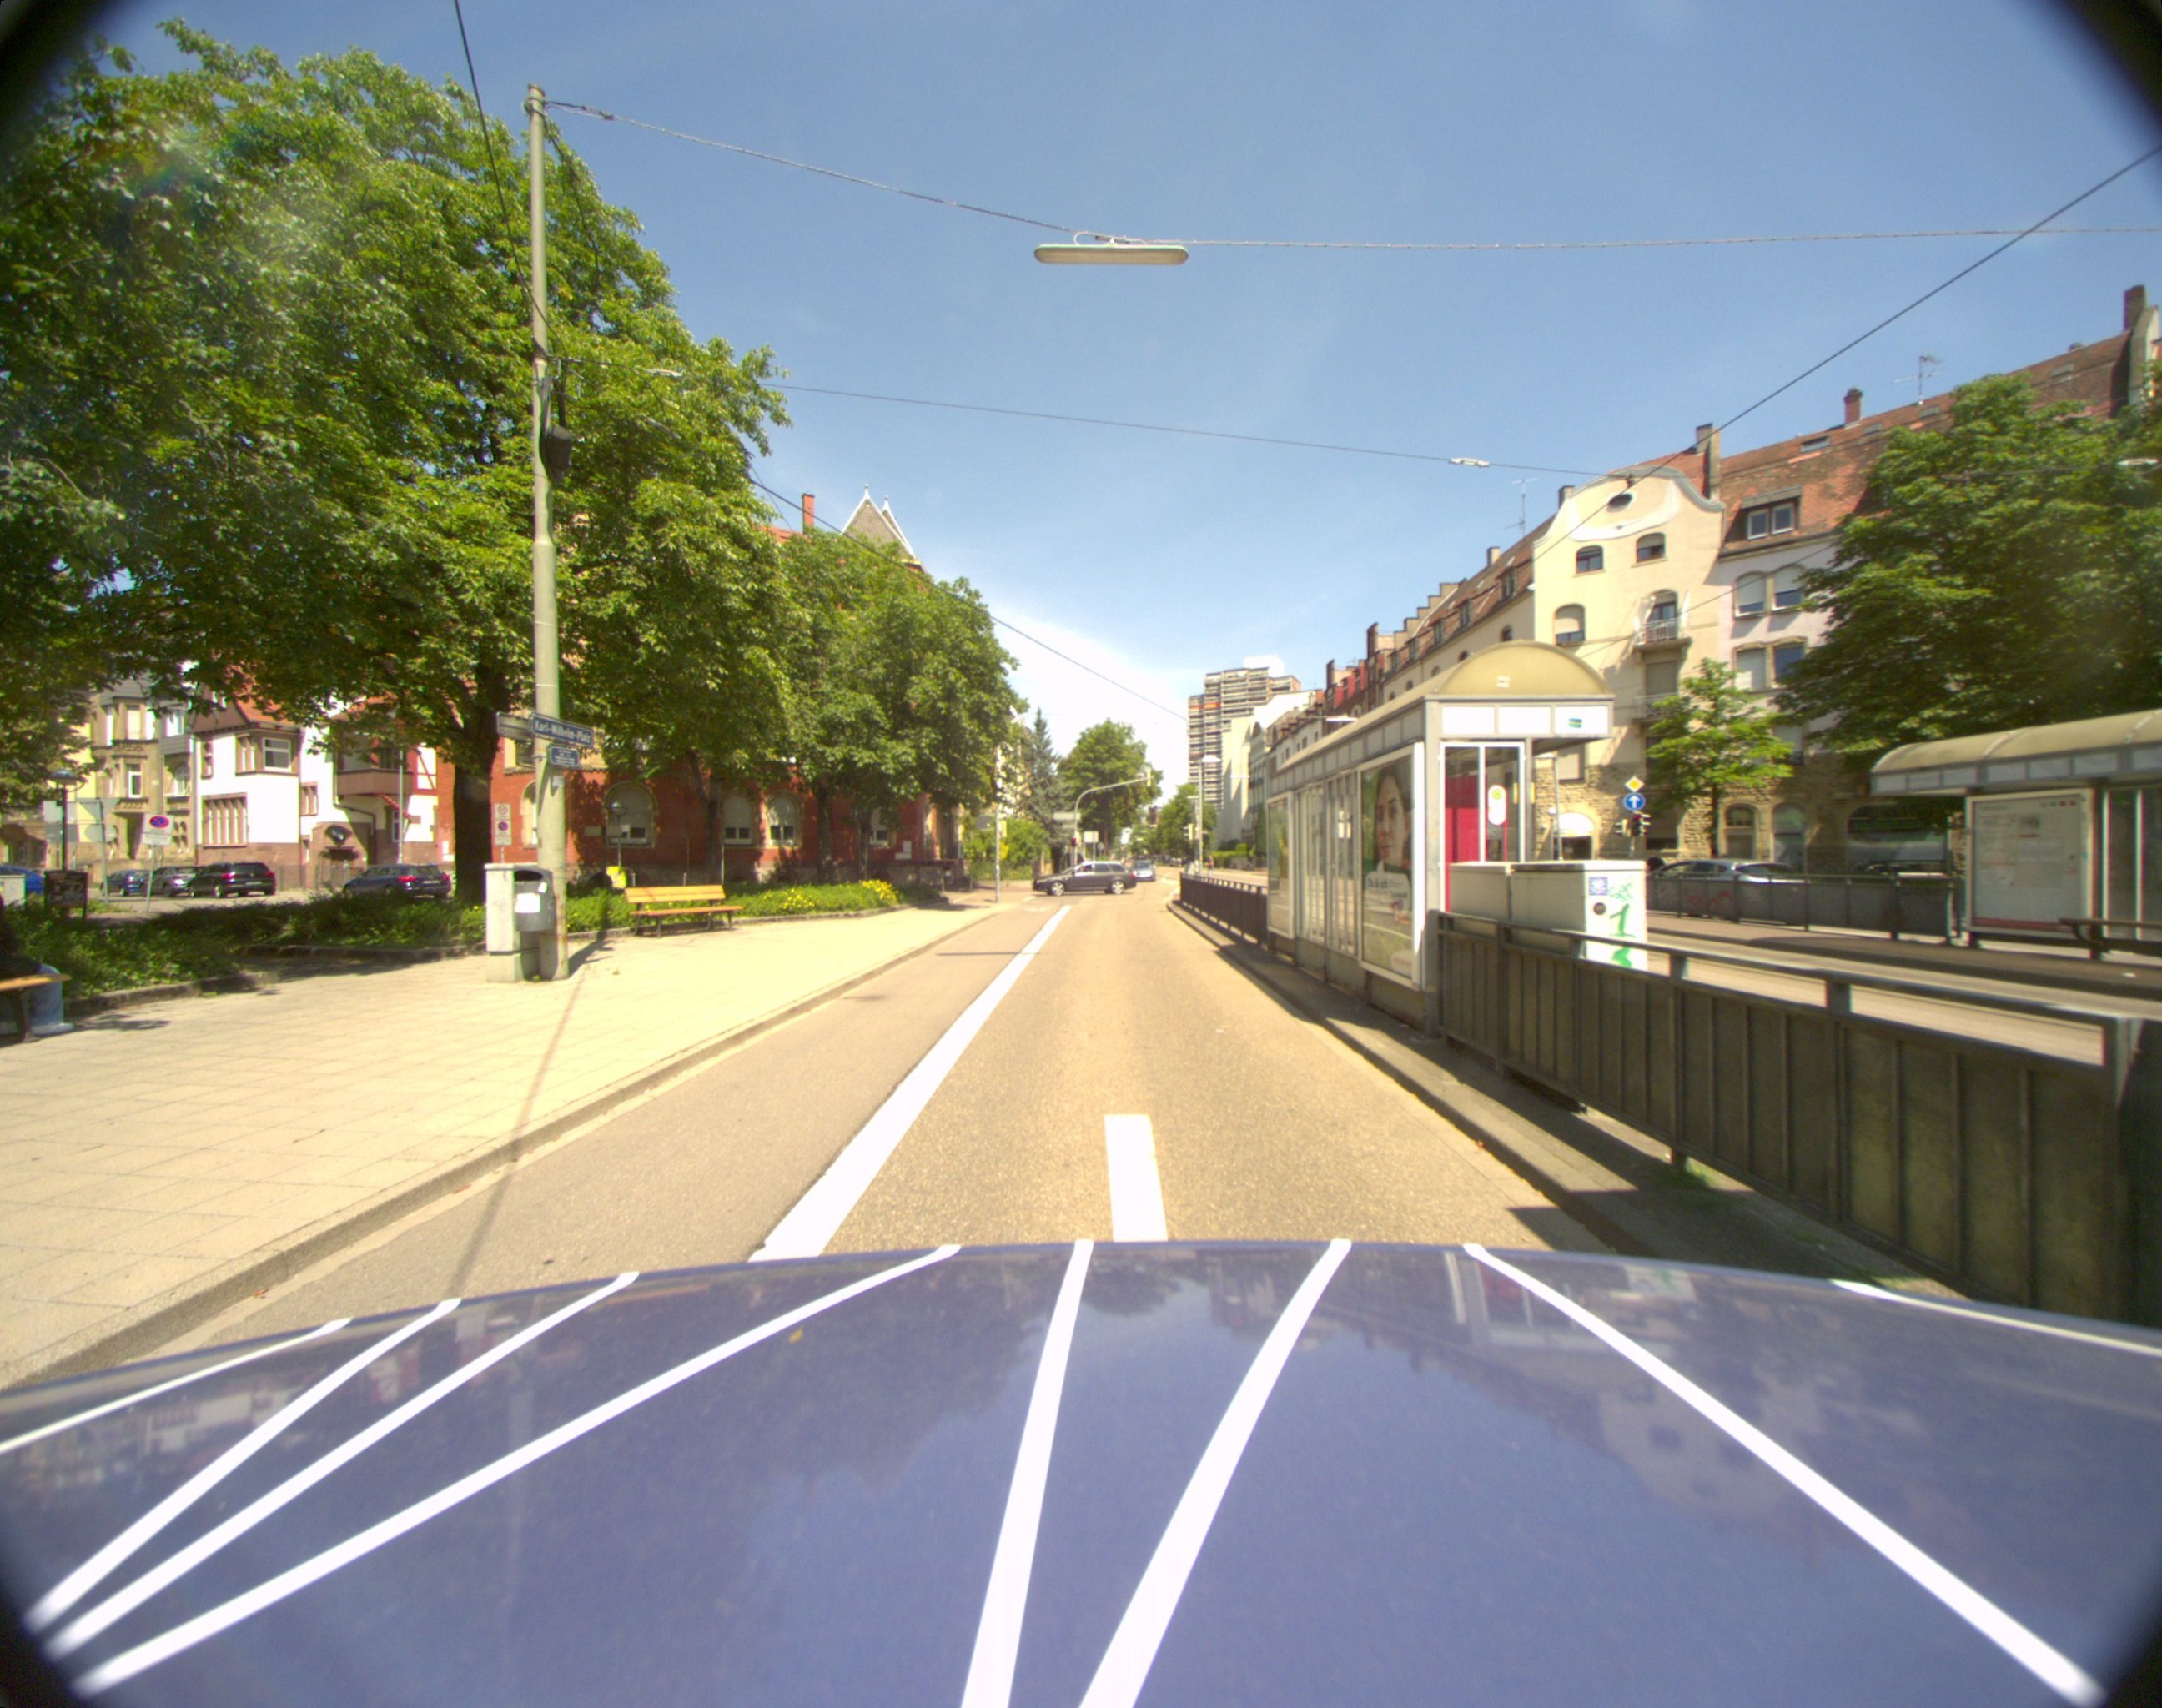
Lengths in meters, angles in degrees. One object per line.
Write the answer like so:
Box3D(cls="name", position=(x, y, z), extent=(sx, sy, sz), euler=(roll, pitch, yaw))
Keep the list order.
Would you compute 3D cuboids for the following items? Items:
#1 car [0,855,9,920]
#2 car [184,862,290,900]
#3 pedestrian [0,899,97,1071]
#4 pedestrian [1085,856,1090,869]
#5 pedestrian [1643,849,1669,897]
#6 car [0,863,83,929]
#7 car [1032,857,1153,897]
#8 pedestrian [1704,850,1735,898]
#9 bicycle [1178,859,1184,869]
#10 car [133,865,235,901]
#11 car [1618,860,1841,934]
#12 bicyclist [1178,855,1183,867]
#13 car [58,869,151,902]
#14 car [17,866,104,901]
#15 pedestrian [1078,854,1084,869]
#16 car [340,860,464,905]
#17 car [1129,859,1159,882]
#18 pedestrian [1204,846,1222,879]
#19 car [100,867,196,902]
Box3D(cls="car", position=(-37.665, 1.200, 23.793), extent=(1.934, 2.178, 4.315), euler=(-2, 1, 23))
Box3D(cls="car", position=(-39.595, 1.275, 35.665), extent=(4.299, 1.608, 1.941), euler=(-2, 1, 23))
Box3D(cls="pedestrian", position=(-7.749, 0.910, 5.416), extent=(0.566, 1.136, 0.725), euler=(0, 1, -16))
Box3D(cls="pedestrian", position=(0.887, 1.184, 107.041), extent=(0.686, 1.732, 0.660), euler=(-2, 1, 3))
Box3D(cls="pedestrian", position=(19.664, 0.649, 25.981), extent=(0.593, 1.637, 0.474), euler=(0, 0, 19))
Box3D(cls="car", position=(-32.849, 1.301, 22.025), extent=(1.934, 1.869, 4.315), euler=(-2, 1, 23))
Box3D(cls="car", position=(0.460, 0.994, 33.650), extent=(5.036, 1.474, 1.936), euler=(-2, 1, -10))
Box3D(cls="pedestrian", position=(20.426, 0.634, 24.326), extent=(0.594, 1.542, 0.474), euler=(0, 0, -1))
Box3D(cls="bicycle", position=(16.275, 1.625, 123.558), extent=(0.644, 1.503, 1.970), euler=(-2, 1, -2))
Box3D(cls="car", position=(-44.154, 1.431, 37.411), extent=(4.299, 1.608, 1.941), euler=(-2, 1, 23))
Box3D(cls="car", position=(14.833, 0.909, 17.724), extent=(1.812, 1.386, 3.999), euler=(-2, 1, 1))
Box3D(cls="bicyclist", position=(16.245, 1.094, 123.539), extent=(0.644, 1.864, 0.716), euler=(-2, 1, -2))
Box3D(cls="car", position=(-53.029, 1.729, 41.268), extent=(4.299, 1.608, 1.941), euler=(-2, 1, 23))
Box3D(cls="car", position=(-59.183, 1.710, 44.078), extent=(4.299, 1.862, 1.941), euler=(-2, 1, 23))
Box3D(cls="pedestrian", position=(-0.003, 0.857, 87.507), extent=(0.702, 1.645, 0.665), euler=(0, 0, 1))
Box3D(cls="car", position=(-27.049, 1.133, 30.285), extent=(4.299, 1.608, 1.941), euler=(-2, 1, 23))
Box3D(cls="car", position=(4.295, 1.074, 51.637), extent=(1.895, 1.372, 4.001), euler=(-2, 1, 5))
Box3D(cls="pedestrian", position=(7.227, 0.464, 41.608), extent=(0.838, 1.813, 0.673), euler=(0, 0, -2))
Box3D(cls="car", position=(-48.428, 1.572, 39.433), extent=(4.299, 1.608, 1.941), euler=(-2, 1, 23))
